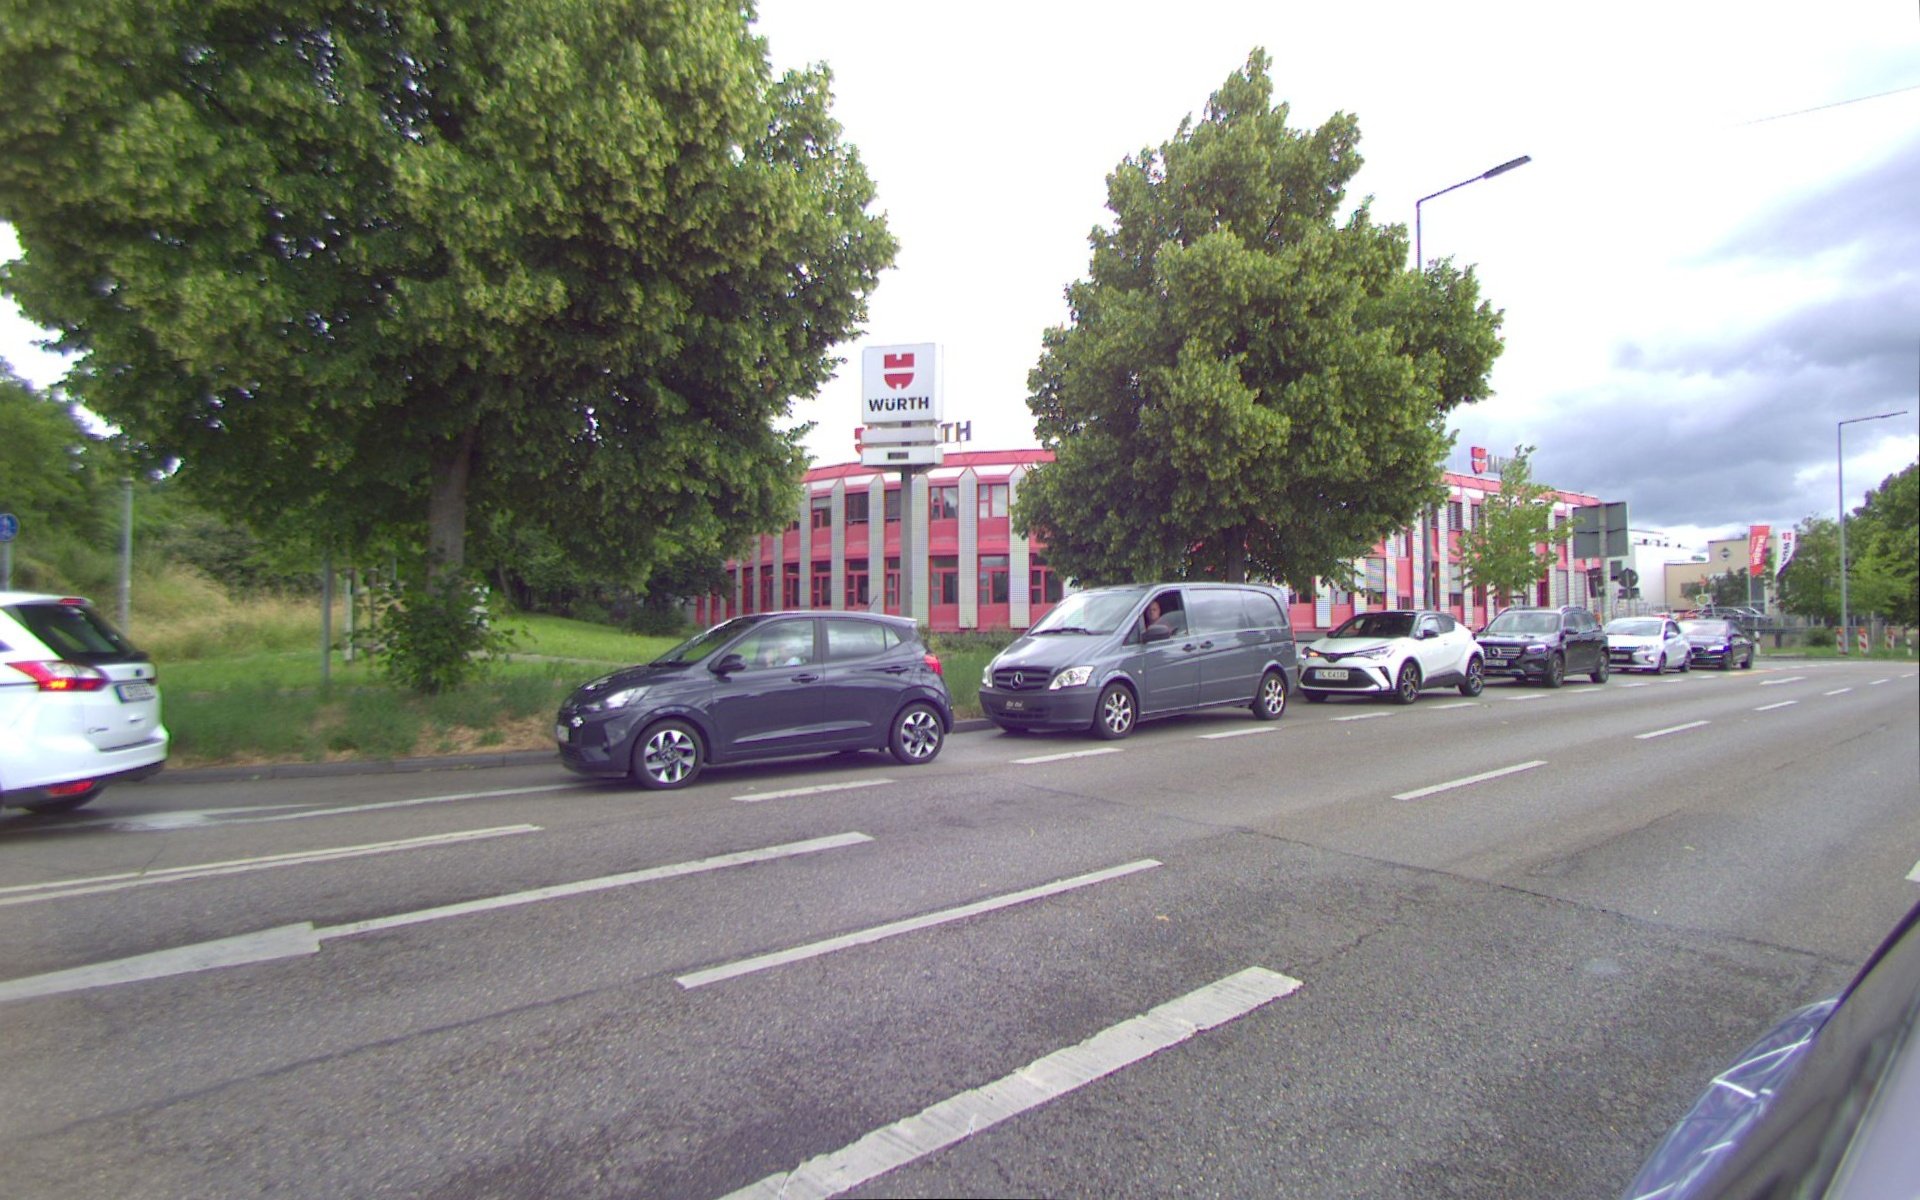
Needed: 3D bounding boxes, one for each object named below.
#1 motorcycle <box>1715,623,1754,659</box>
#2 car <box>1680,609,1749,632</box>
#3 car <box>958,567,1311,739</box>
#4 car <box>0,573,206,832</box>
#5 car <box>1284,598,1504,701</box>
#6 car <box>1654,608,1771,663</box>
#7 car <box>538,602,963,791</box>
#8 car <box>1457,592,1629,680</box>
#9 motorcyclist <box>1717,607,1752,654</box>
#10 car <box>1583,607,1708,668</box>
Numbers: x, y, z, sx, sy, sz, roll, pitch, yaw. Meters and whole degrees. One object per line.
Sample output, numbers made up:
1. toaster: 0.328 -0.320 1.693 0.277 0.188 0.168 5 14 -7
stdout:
1. motorcycle: 25.166 1.323 32.870 1.911 1.162 0.748 2 -3 -45
2. car: 61.812 1.683 82.960 1.752 1.776 4.247 0 0 -39
3. car: 2.387 0.618 13.150 4.636 1.858 1.919 0 -3 -39
4. car: -7.871 0.702 6.622 4.365 1.616 1.786 -1 -3 -20
5. car: 7.542 0.794 17.405 4.230 1.555 1.783 0 -3 -41
6. car: 22.218 1.055 29.816 4.446 1.464 1.784 3 -1 -40
7. car: -1.913 0.783 9.494 3.545 1.449 1.625 0 -3 -33
8. car: 12.481 0.755 21.569 4.346 1.671 1.784 3 -1 -40
9. motorcyclist: 25.188 0.985 32.905 0.918 1.510 0.748 2 -3 -45
10. car: 18.190 0.993 26.817 3.766 1.461 1.784 3 -1 -40
